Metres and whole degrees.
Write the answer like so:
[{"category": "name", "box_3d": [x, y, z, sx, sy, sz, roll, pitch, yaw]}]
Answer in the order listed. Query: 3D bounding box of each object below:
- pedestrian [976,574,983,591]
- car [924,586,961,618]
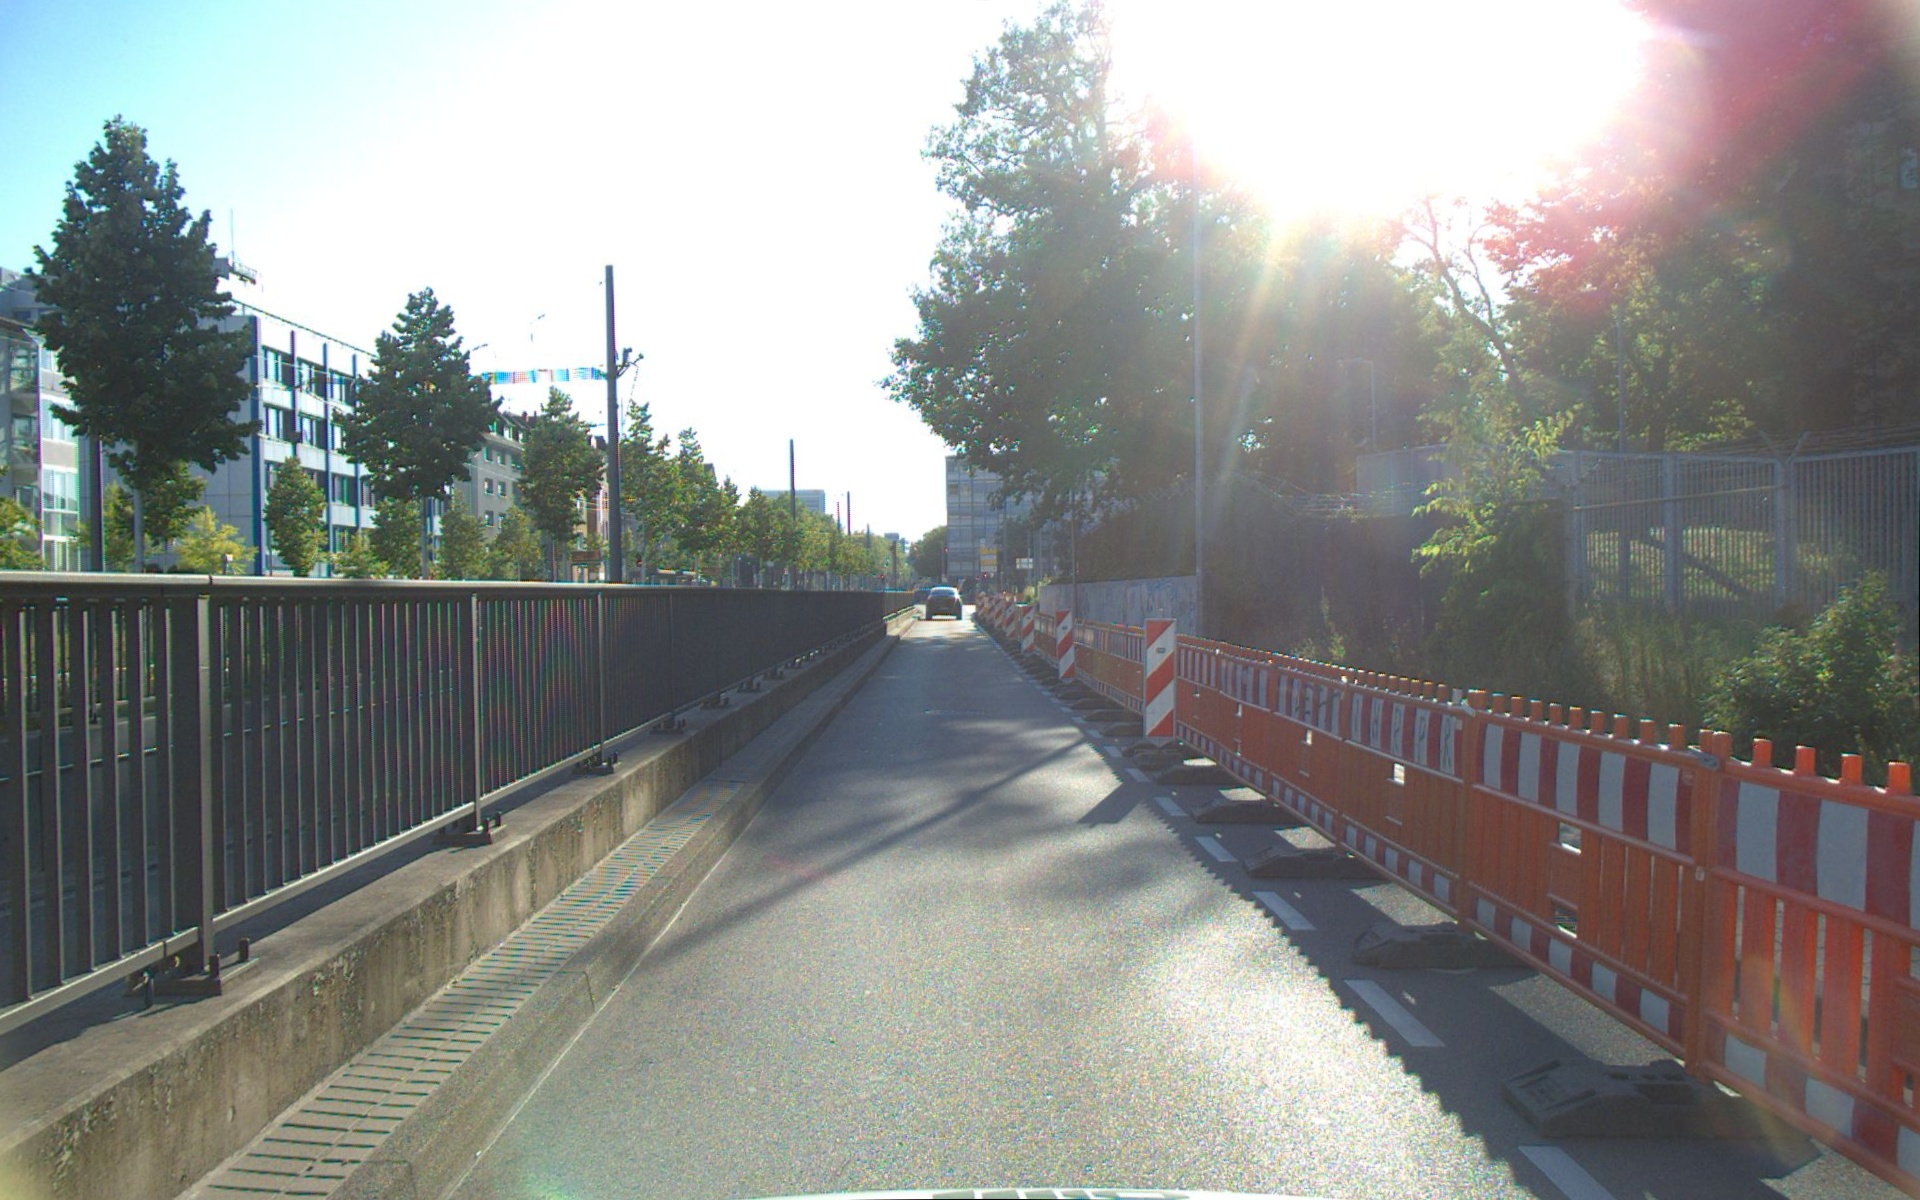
[{"category": "pedestrian", "box_3d": [2.506, -2.263, 213.404, 0.873, 2.149, 0.718, -1, 1, 4]}, {"category": "car", "box_3d": [-0.951, 0.108, 90.962, 1.964, 1.688, 4.000, 1, 0, 0]}]
